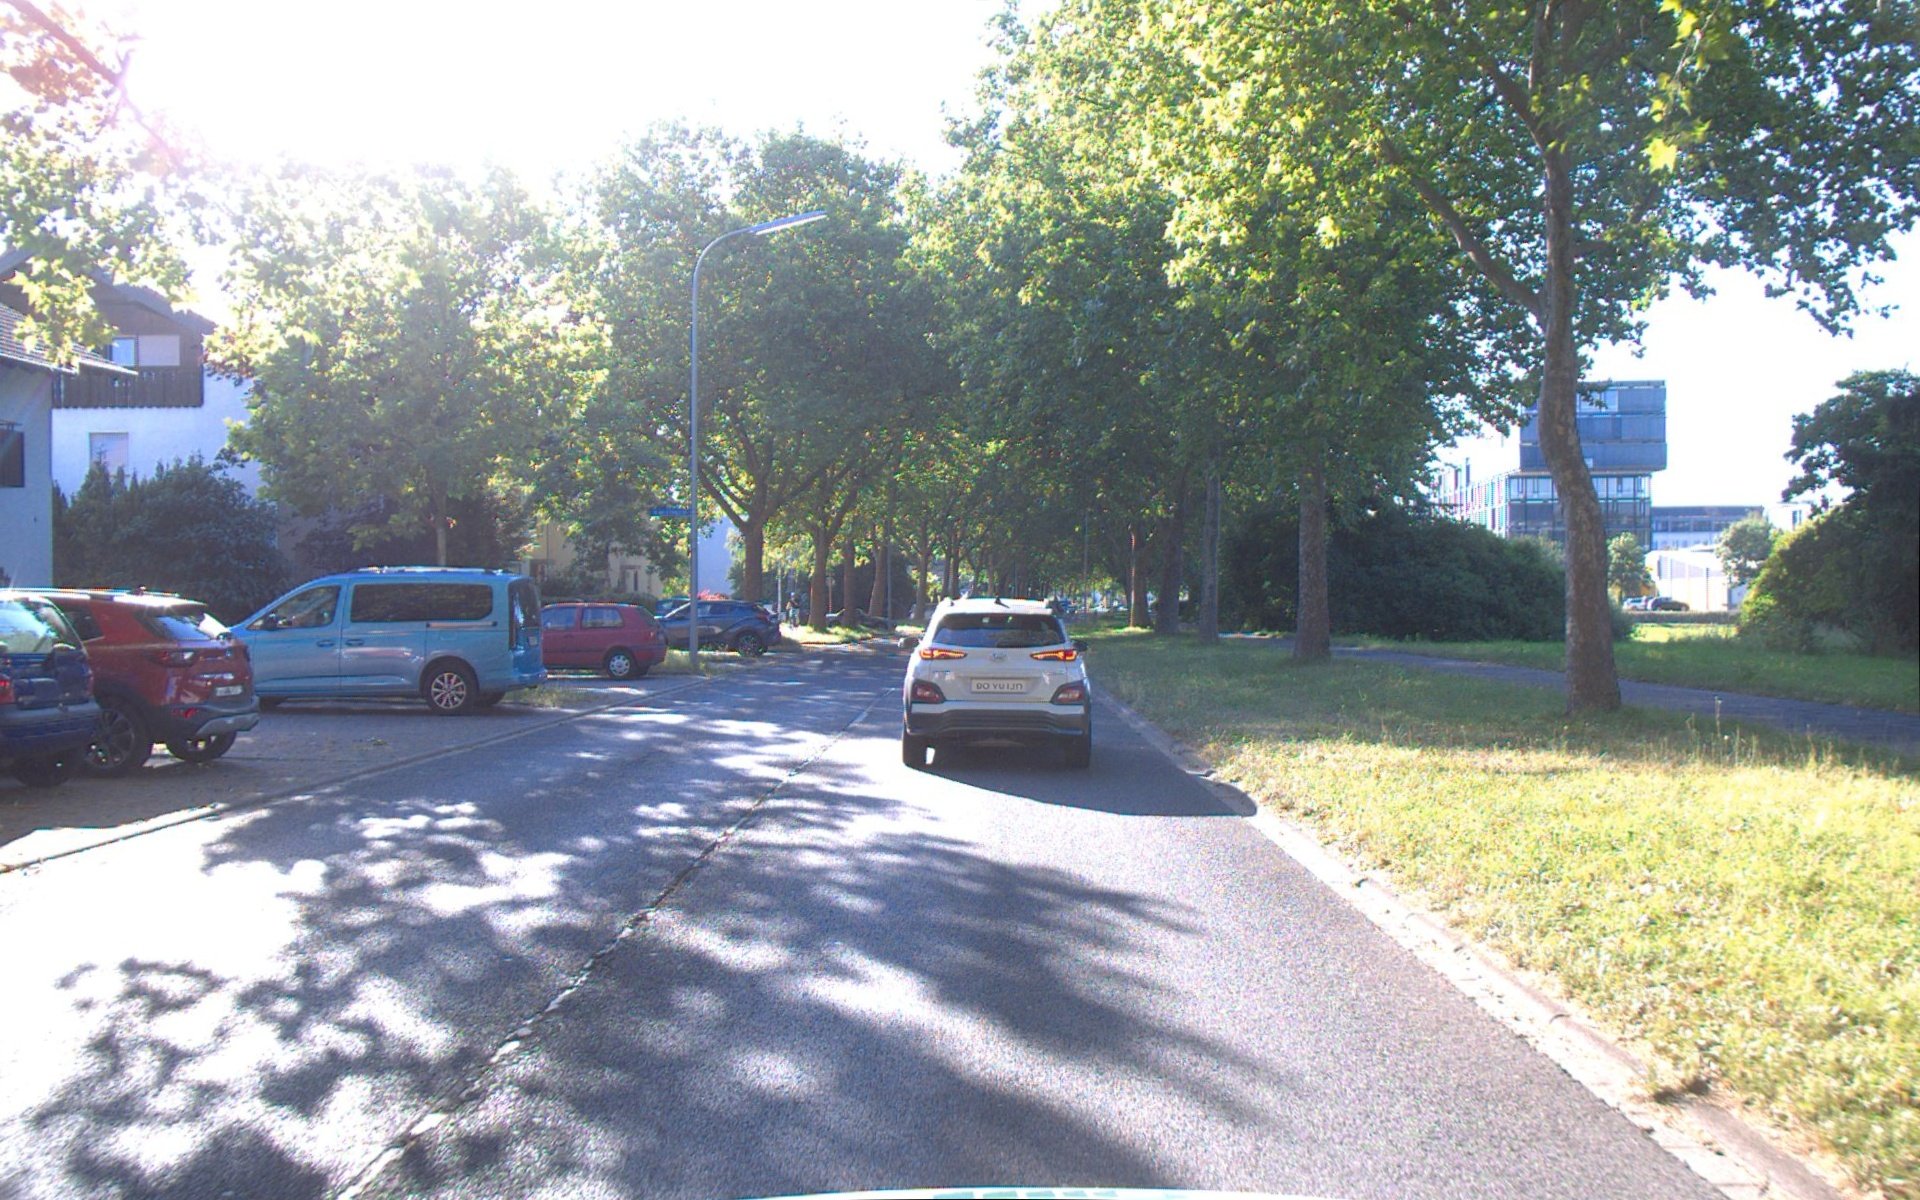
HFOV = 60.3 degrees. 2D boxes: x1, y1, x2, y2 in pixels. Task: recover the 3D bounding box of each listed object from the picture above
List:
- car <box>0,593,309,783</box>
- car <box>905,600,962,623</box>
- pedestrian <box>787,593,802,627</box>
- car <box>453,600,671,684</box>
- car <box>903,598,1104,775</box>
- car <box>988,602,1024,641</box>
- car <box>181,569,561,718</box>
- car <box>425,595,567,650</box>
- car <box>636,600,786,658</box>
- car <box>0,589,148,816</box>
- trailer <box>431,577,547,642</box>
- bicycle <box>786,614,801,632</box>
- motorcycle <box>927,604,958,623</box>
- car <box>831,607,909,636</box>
[{"bbox_3d":[-7.812,0.718,14.388,3.567,1.543,1.782,0,0,-1],"label":"car"},{"bbox_3d":[-1.902,0.834,121.624,4.096,1.612,2.000,0,0,1],"label":"car"},{"bbox_3d":[-8.562,0.504,85.409,0.604,1.746,1.065,0,-1,3],"label":"pedestrian"},{"bbox_3d":[-7.620,0.793,31.901,3.793,1.545,1.664,0,0,-2],"label":"car"},{"bbox_3d":[0.325,0.796,16.923,1.798,1.583,3.998,0,0,-2],"label":"car"},{"bbox_3d":[2.135,0.986,76.828,1.642,1.725,3.745,0,0,1],"label":"car"},{"bbox_3d":[-7.665,0.558,21.875,4.297,1.856,1.995,0,0,-2],"label":"car"},{"bbox_3d":[-14.975,0.723,53.548,3.904,1.502,2.001,4,0,3],"label":"car"},{"bbox_3d":[-6.855,0.786,45.776,3.907,1.545,1.817,0,0,-2],"label":"car"},{"bbox_3d":[-8.056,0.675,12.012,3.443,1.543,1.725,1,0,-5],"label":"car"},{"bbox_3d":[-16.119,0.301,56.694,3.382,1.959,1.643,4,1,1],"label":"trailer"},{"bbox_3d":[-8.613,1.181,85.424,0.460,0.896,2.156,0,0,3],"label":"bicycle"},{"bbox_3d":[-1.294,1.016,124.164,2.336,1.412,0.648,0,0,0],"label":"motorcycle"},{"bbox_3d":[-4.567,1.076,84.196,3.746,1.339,1.790,1,0,3],"label":"car"}]
